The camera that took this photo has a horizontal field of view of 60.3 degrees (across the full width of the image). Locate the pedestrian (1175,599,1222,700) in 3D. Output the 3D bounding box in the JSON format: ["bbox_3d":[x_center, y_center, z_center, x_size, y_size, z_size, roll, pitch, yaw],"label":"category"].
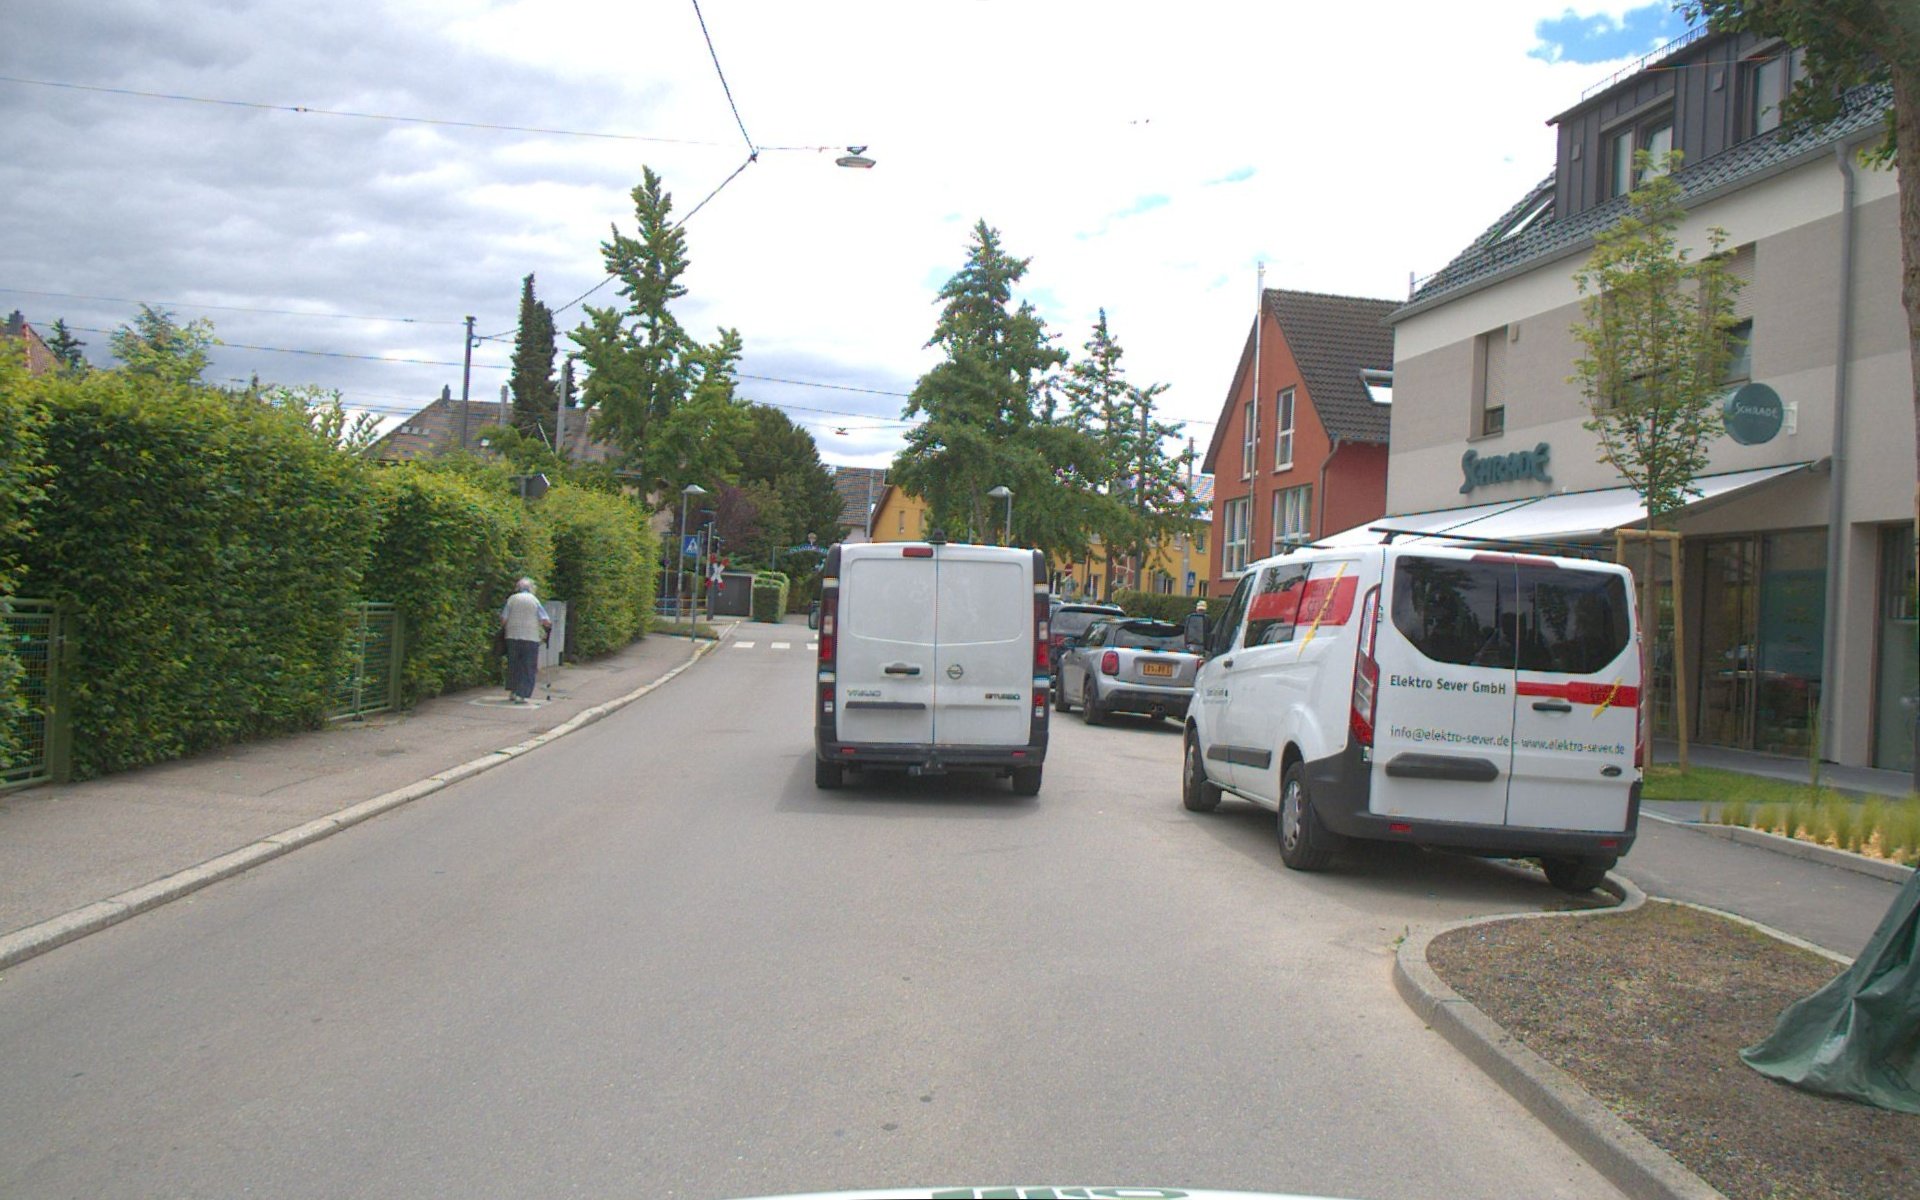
[{"bbox_3d":[4.009,0.827,27.844,0.579,1.634,0.529,5,-1,-2],"label":"pedestrian"}]

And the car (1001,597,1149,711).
[{"bbox_3d":[1.863,0.854,28.093,1.670,1.642,4.253,5,-1,-6],"label":"car"}]

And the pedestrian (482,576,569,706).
[{"bbox_3d":[-5.335,0.501,20.301,0.864,1.511,0.452,5,-2,-23],"label":"pedestrian"}]

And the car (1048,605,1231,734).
[{"bbox_3d":[2.424,0.926,23.207,1.709,1.520,3.650,5,-1,-6],"label":"car"}]

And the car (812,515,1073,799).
[{"bbox_3d":[-0.266,0.450,14.530,1.878,2.038,4.434,2,-1,-4],"label":"car"}]

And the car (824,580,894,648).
[{"bbox_3d":[-3.030,0.440,49.793,1.954,1.880,3.997,2,-1,-3],"label":"car"}]

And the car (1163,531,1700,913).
[{"bbox_3d":[2.909,0.713,11.535,1.920,1.949,4.897,5,-1,-4],"label":"car"}]
